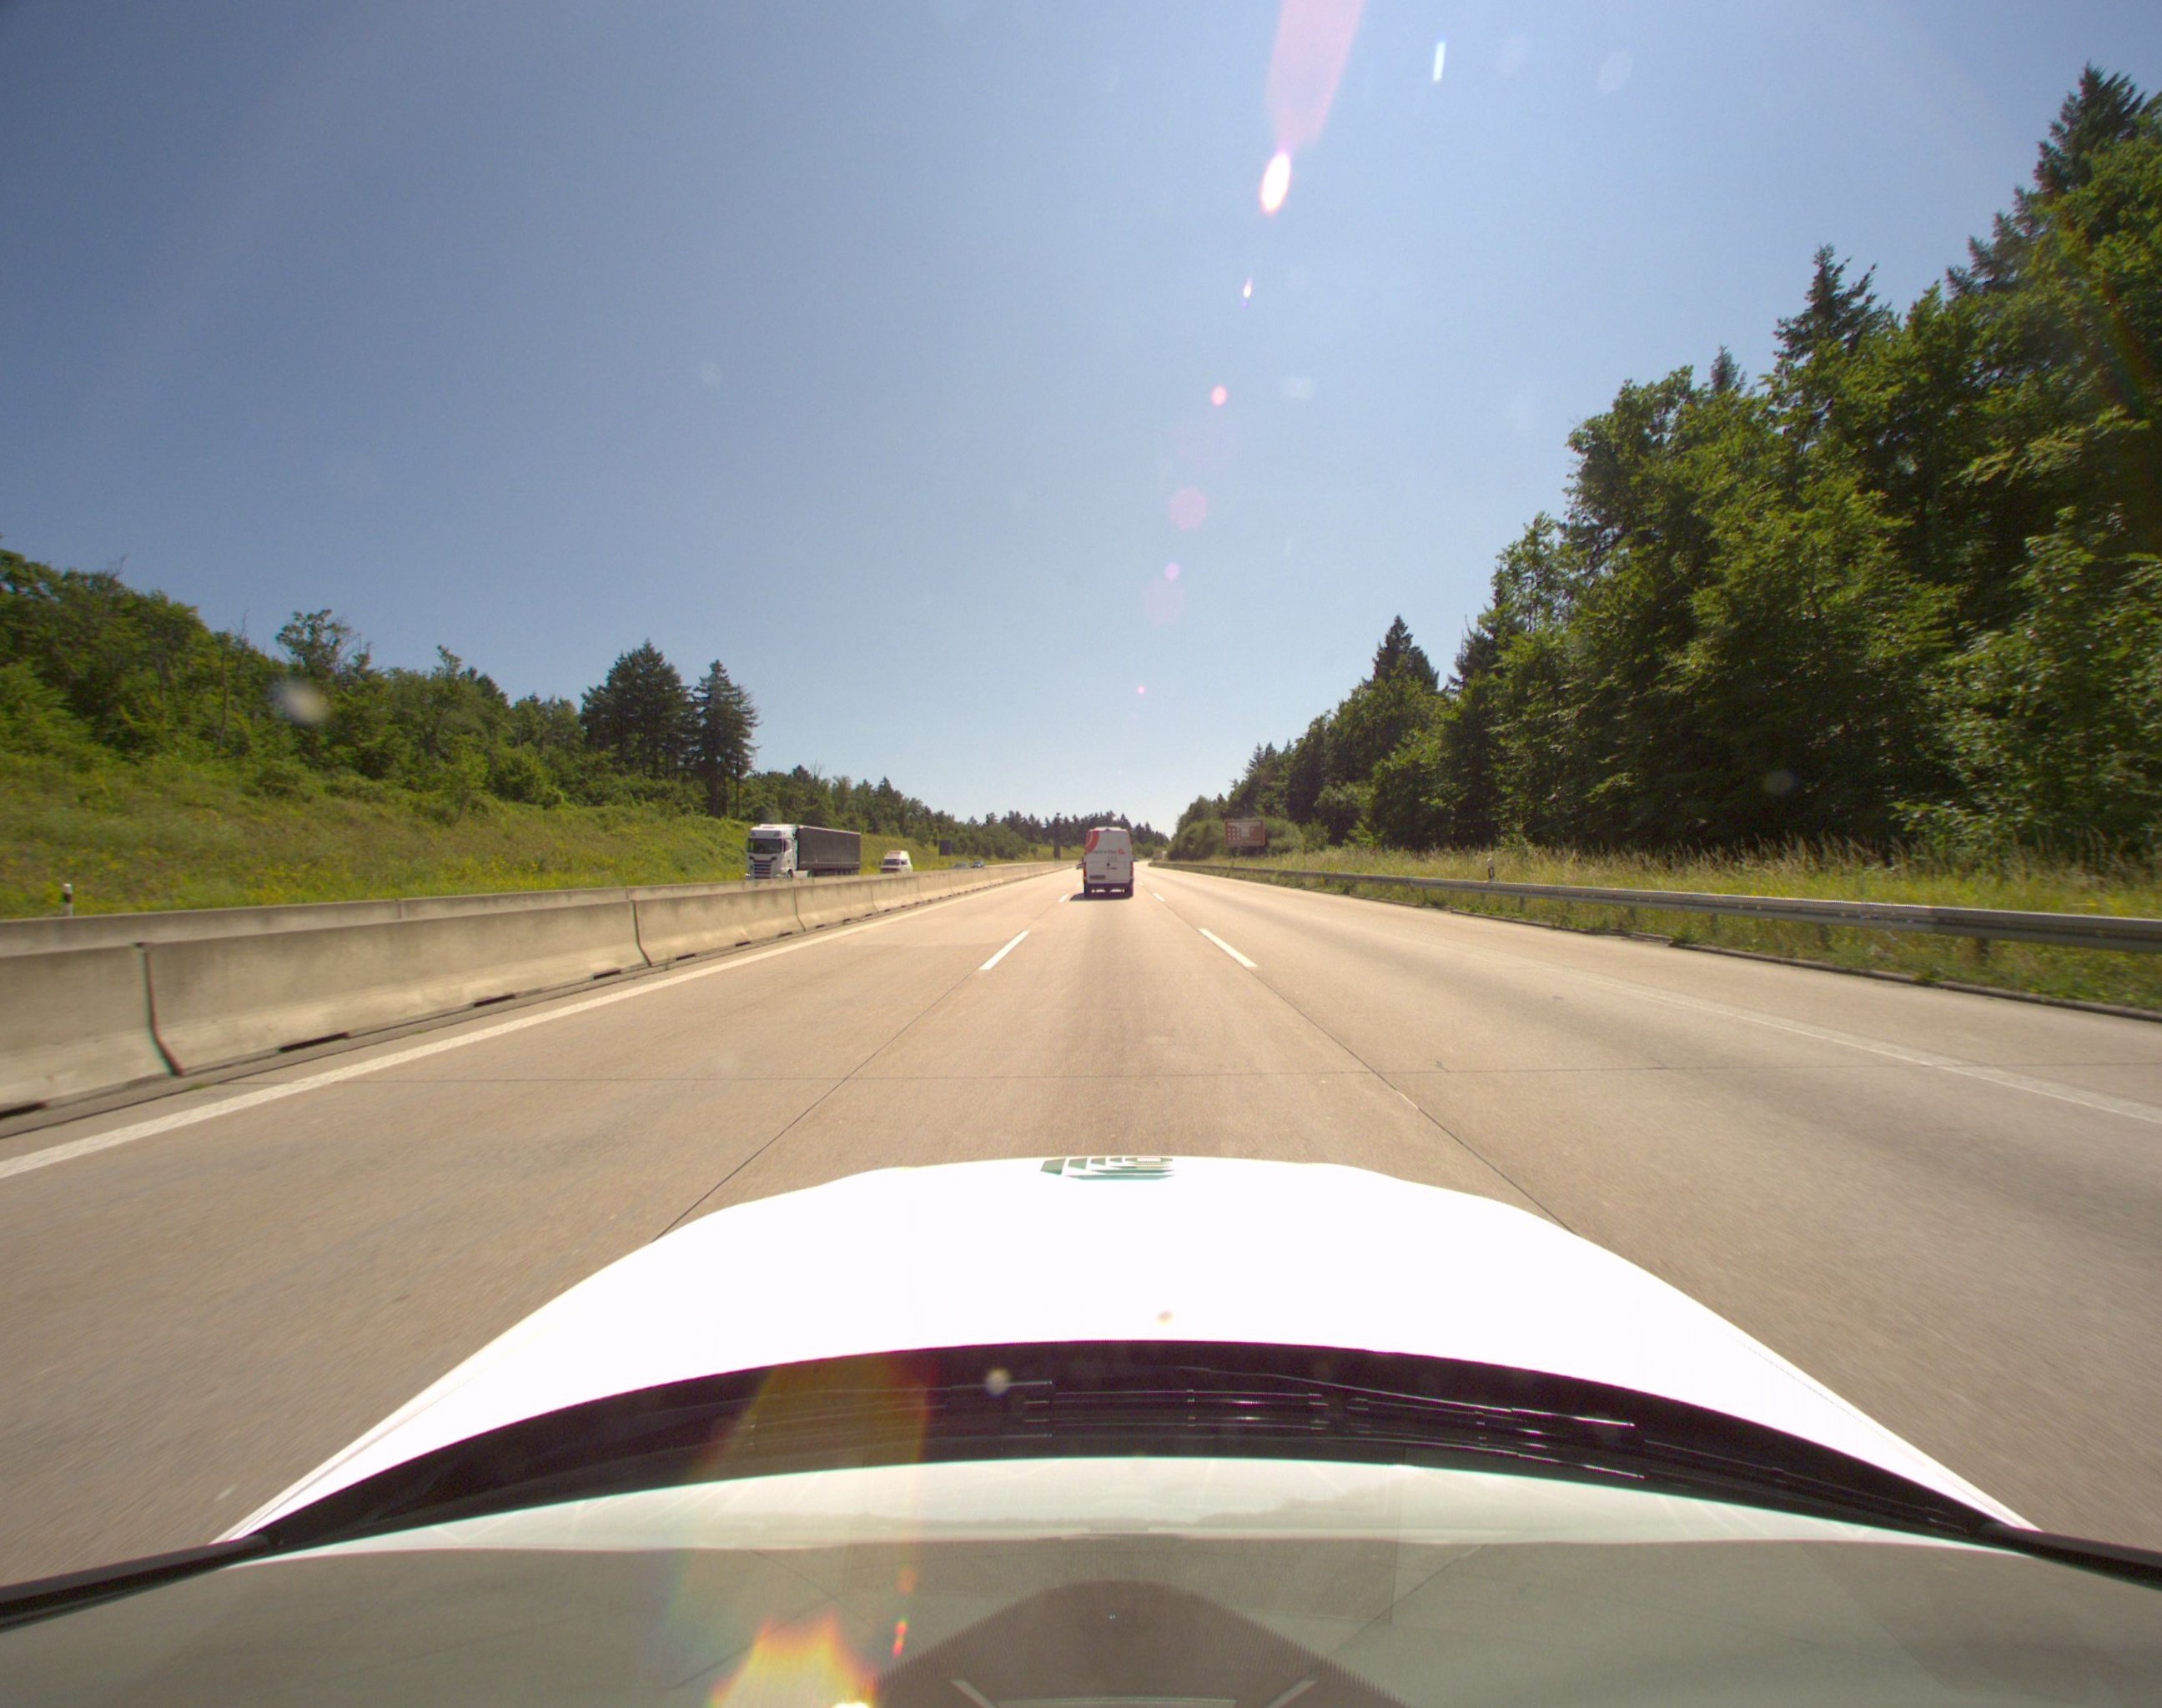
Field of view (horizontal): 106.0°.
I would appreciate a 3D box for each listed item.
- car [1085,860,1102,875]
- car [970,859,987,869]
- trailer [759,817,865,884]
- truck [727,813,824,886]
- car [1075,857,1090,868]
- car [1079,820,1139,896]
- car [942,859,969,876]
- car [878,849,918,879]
[{"bbox_3d":[1.607,1.683,101.123,1.986,1.794,4.001,-1,-1,1],"label":"car"},{"bbox_3d":[-16.990,1.647,135.194,1.986,1.583,4.044,-1,-1,2],"label":"car"},{"bbox_3d":[-20.220,-0.148,62.467,3.244,4.505,13.125,-1,-1,2],"label":"trailer"},{"bbox_3d":[-20.464,-0.237,55.110,3.244,4.505,7.989,-1,-1,2],"label":"truck"},{"bbox_3d":[0.238,1.348,125.531,1.983,1.684,4.006,-1,-1,6],"label":"car"},{"bbox_3d":[1.131,0.152,33.310,2.218,2.844,5.455,-1,0,1],"label":"car"},{"bbox_3d":[-12.825,1.346,83.239,1.986,1.583,4.044,-1,0,2],"label":"car"},{"bbox_3d":[-15.527,0.830,69.386,1.986,2.486,5.181,-1,0,2],"label":"car"}]
